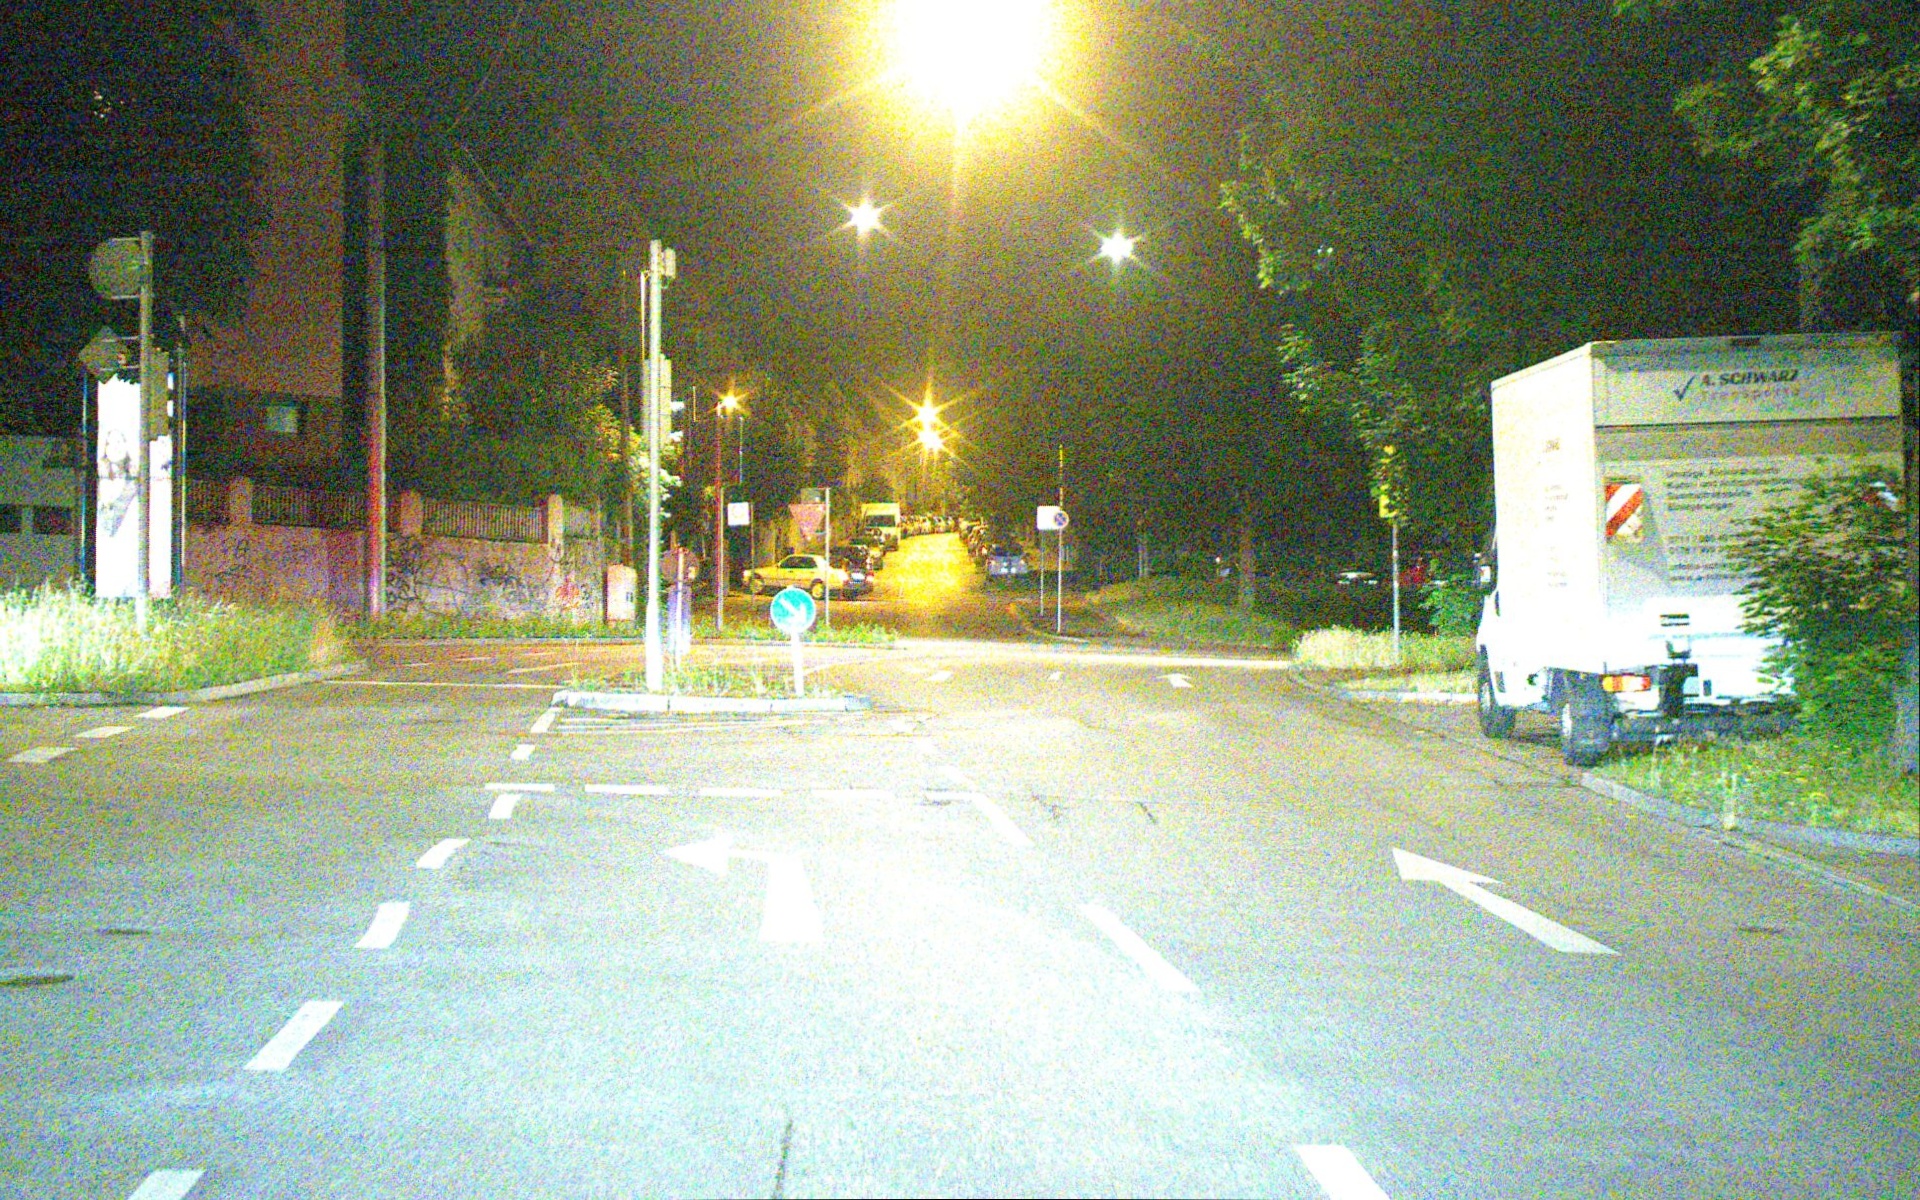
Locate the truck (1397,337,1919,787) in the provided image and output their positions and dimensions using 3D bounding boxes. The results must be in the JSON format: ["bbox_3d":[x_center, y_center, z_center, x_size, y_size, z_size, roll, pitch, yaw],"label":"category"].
[{"bbox_3d":[5.356,-0.289,27.075,2.763,3.034,7.036,-1,0,-1],"label":"truck"}]

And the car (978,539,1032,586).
[{"bbox_3d":[1.758,-1.470,135.539,1.993,1.763,4.000,2,1,-1],"label":"car"}]

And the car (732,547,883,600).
[{"bbox_3d":[-4.904,-0.850,110.250,4.506,1.552,1.996,2,1,34],"label":"car"}]
